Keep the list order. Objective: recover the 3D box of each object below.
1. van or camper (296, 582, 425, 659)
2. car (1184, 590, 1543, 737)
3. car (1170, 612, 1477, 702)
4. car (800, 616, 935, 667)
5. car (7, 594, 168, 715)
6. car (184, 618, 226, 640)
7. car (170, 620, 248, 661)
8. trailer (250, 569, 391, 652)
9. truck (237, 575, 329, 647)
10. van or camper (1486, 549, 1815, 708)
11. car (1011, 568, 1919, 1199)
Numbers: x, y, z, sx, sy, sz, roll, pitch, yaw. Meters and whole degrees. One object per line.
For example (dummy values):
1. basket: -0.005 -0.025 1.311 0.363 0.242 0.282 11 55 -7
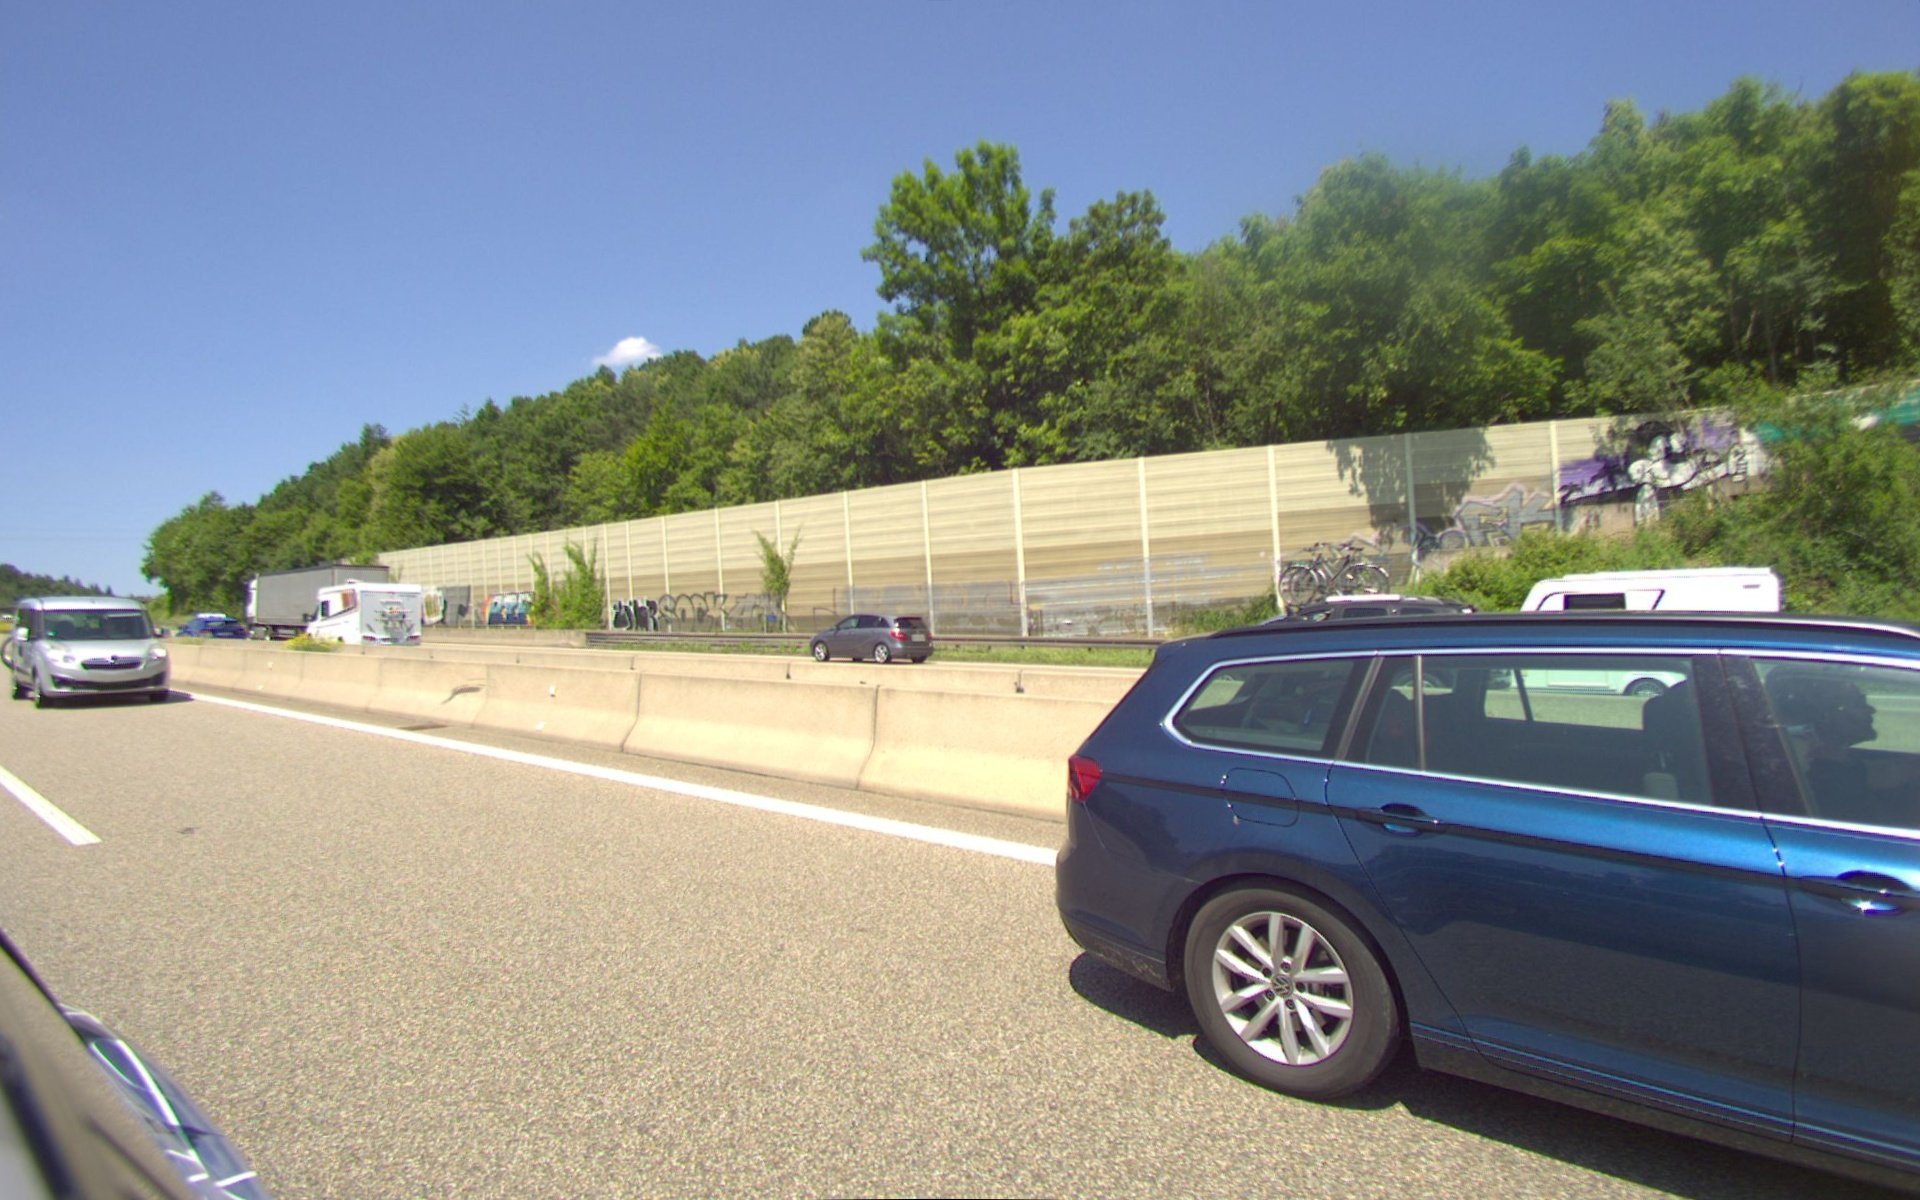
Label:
1. van or camper: -23.404 0.757 39.338 6.801 2.756 2.246 -1 -1 41
2. car: 5.333 0.768 13.714 4.193 1.696 1.675 -1 -1 41
3. car: 6.218 0.924 17.691 4.720 1.357 1.782 -1 -1 41
4. car: -2.893 1.243 31.066 4.386 1.473 1.561 -1 -1 41
5. car: -15.255 0.883 17.631 4.001 1.858 1.756 -1 -2 44
6. car: -66.947 2.524 89.726 5.301 1.881 1.901 -1 -1 41
7. car: -30.543 1.621 41.142 4.125 1.549 1.693 -1 -1 41
8. trailer: -34.403 0.568 54.050 13.825 3.938 2.782 -1 -1 42
9. truck: -38.990 0.640 58.214 7.315 3.938 2.782 -1 -1 43
10. van or camper: 9.910 0.400 14.668 3.701 1.992 2.055 -1 -1 39
11. car: 2.521 0.656 2.668 4.727 1.438 1.714 -1 -1 41
